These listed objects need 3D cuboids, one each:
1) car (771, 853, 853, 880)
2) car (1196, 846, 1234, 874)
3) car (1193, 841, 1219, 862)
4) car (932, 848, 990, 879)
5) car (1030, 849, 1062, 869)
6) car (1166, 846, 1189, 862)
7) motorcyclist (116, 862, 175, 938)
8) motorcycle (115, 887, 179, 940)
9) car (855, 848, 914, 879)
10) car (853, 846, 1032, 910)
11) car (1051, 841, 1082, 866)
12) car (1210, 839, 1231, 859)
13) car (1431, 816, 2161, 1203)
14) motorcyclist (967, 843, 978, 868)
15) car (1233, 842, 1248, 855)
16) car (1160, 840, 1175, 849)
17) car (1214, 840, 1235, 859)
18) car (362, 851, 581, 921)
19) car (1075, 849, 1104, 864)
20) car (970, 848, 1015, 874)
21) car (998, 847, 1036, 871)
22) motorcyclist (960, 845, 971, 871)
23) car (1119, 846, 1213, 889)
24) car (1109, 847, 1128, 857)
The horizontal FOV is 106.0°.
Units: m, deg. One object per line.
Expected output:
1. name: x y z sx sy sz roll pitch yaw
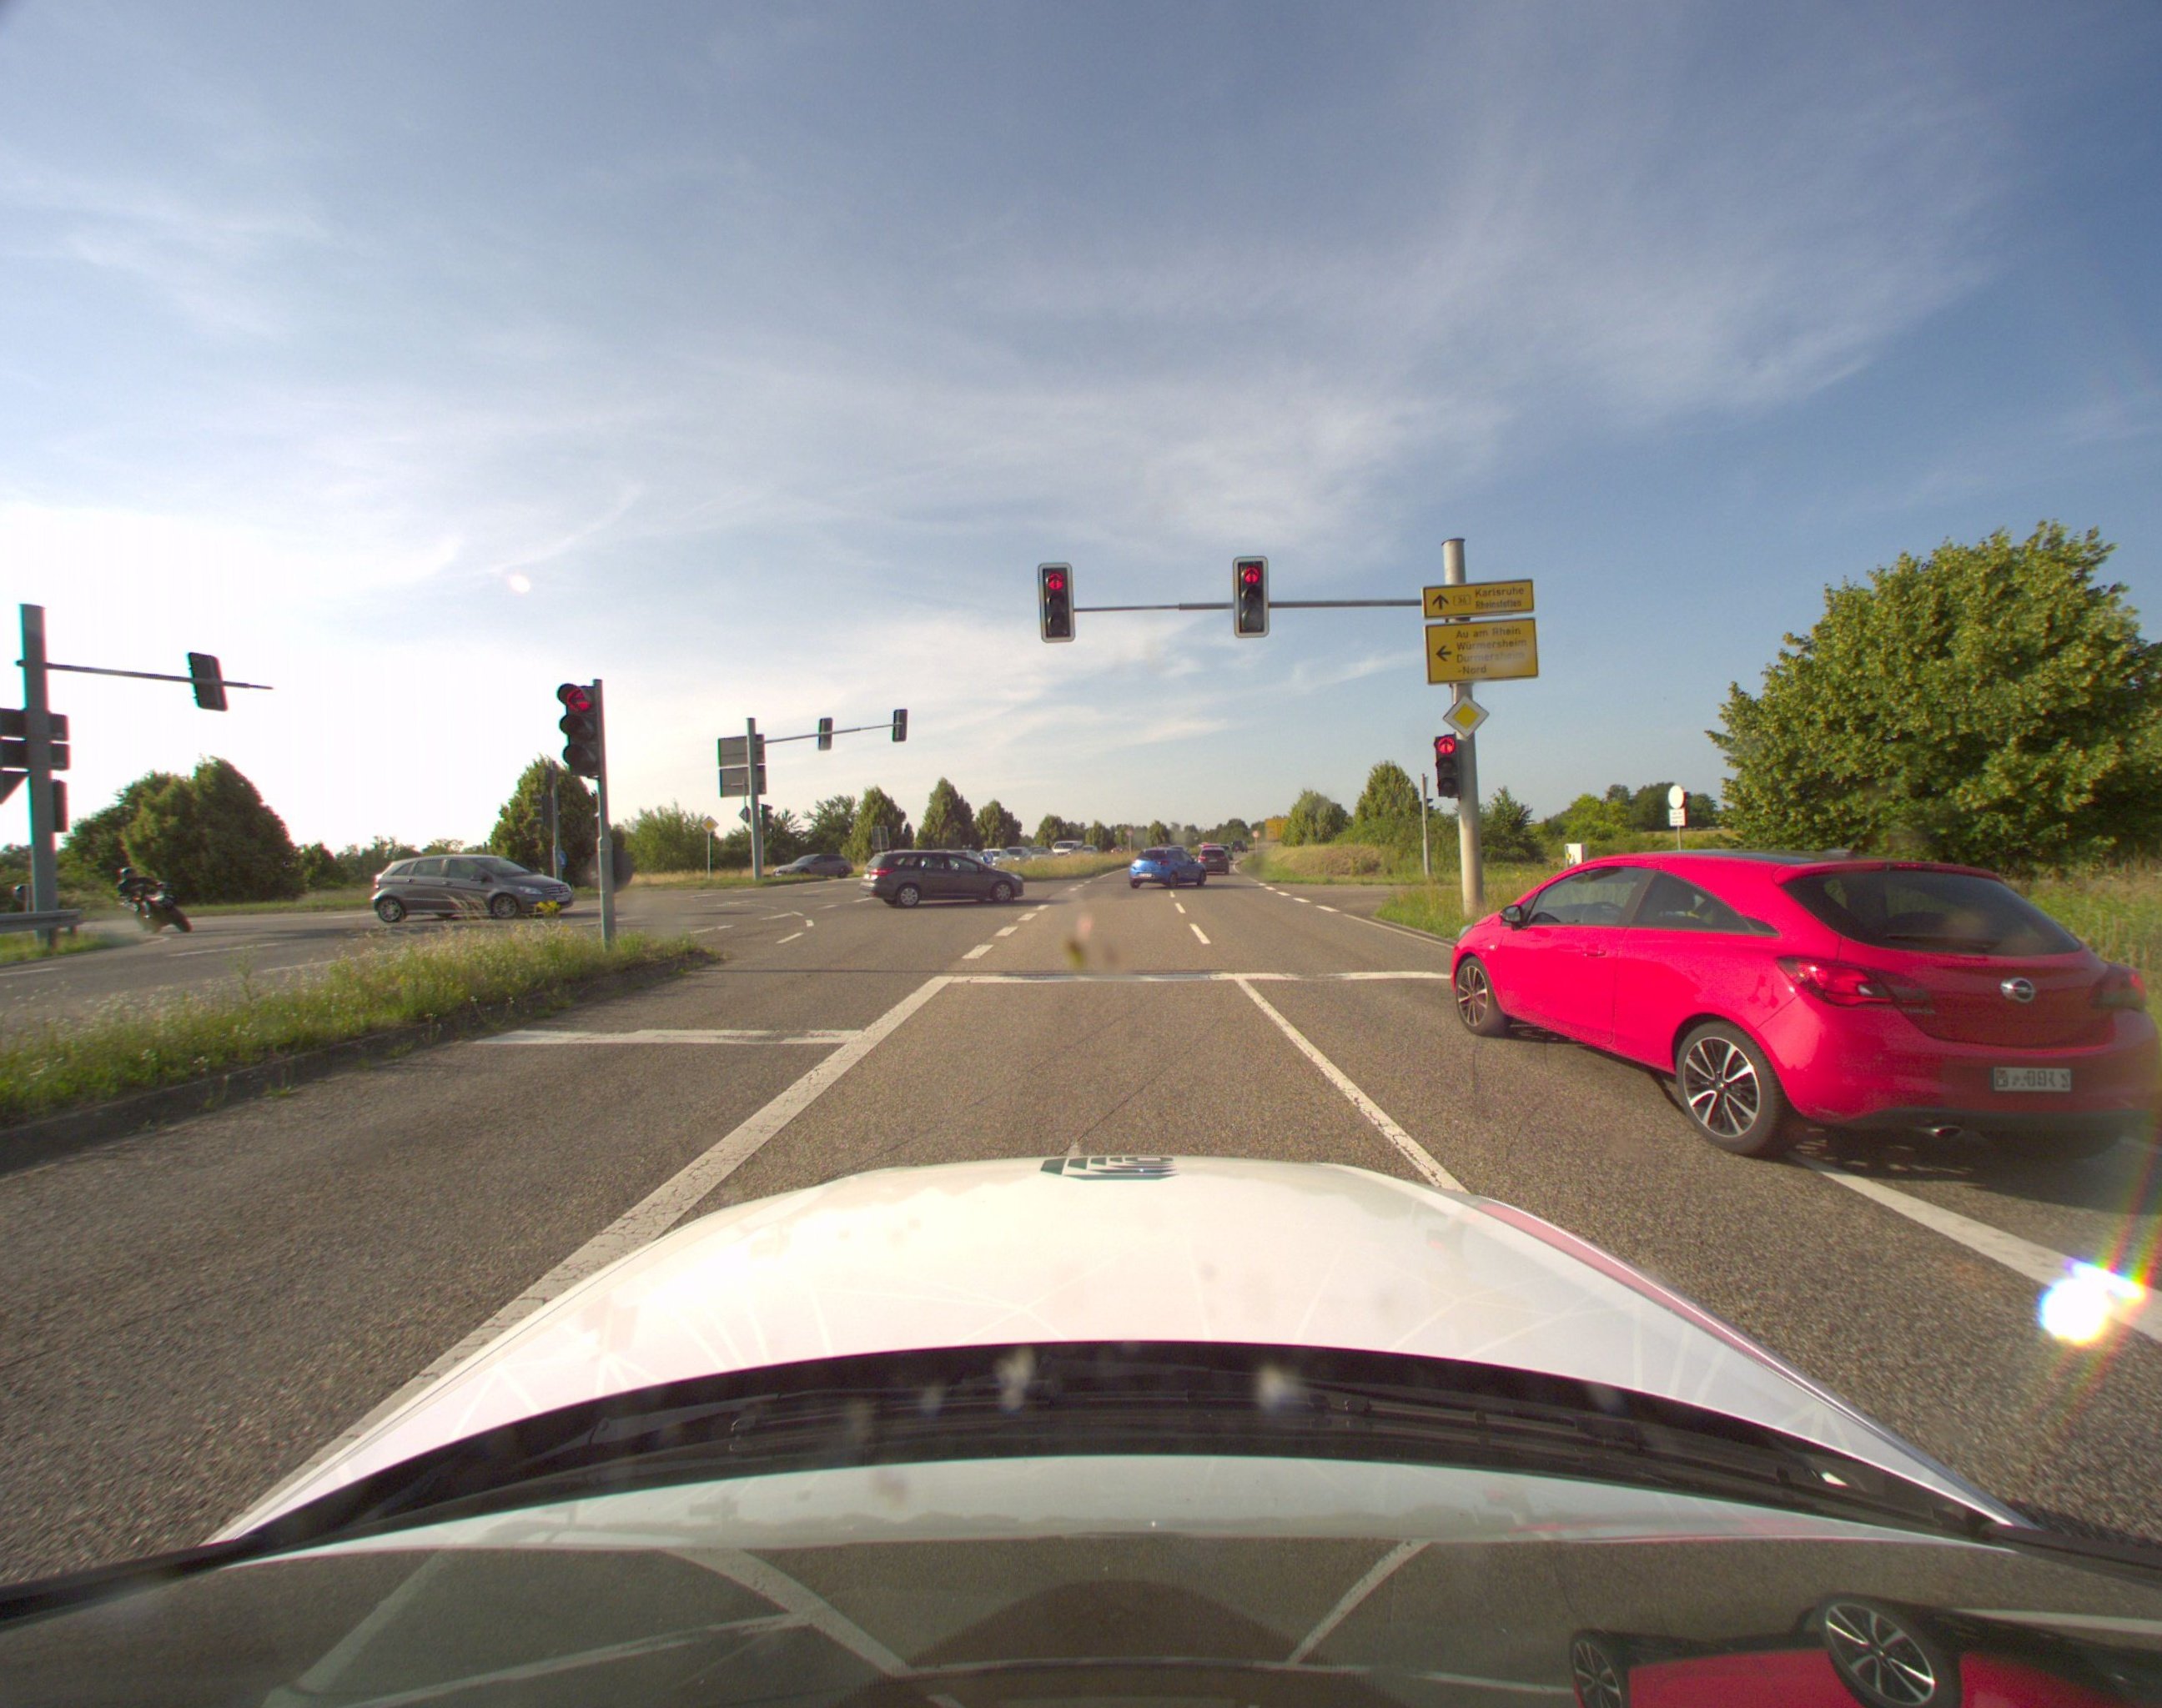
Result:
1. car: -15.013 0.677 45.728 1.423 1.292 4.701 -2 0 27
2. car: 7.104 0.321 43.490 1.904 1.416 3.803 -1 -1 7
3. car: 9.944 -0.177 64.778 1.883 1.565 4.290 -1 -1 11
4. car: -6.266 0.471 43.100 1.776 1.488 4.660 -2 0 7
5. car: -2.651 0.353 62.449 1.776 1.385 4.059 -2 0 7
6. car: 8.838 0.008 74.122 1.825 1.377 4.290 -1 -1 10
7. motorcyclist: -22.636 1.087 19.705 0.821 1.758 0.912 -1 0 40
8. motorcycle: -22.453 1.405 19.563 2.143 1.124 0.946 0 0 40
9. car: -10.395 0.475 43.365 1.711 1.488 3.813 -2 0 8
10. car: -3.805 0.595 22.525 4.542 1.565 1.799 -1 0 -28
11. car: -1.238 -0.083 71.759 1.913 2.078 4.256 -2 0 10
12. car: 13.303 -0.435 77.436 1.897 1.800 4.290 -1 -1 11
13. car: 3.940 0.627 5.244 1.692 1.549 3.749 -2 0 -1
14. motorcyclist: -7.907 0.090 59.142 0.660 1.817 0.605 -2 0 0
15. car: 23.003 -0.835 117.575 1.898 1.734 4.288 -1 -1 8
16. car: 14.412 -1.530 135.186 1.772 1.385 4.069 -2 0 16
17. car: 15.929 -0.478 90.619 1.900 1.916 4.283 -1 -1 5
18. car: -14.966 0.774 20.135 4.162 1.605 1.792 -1 -1 4
19. car: 0.824 0.196 80.298 1.772 1.385 4.069 -2 0 16
20. car: -5.383 0.406 50.269 1.776 1.433 4.318 -2 0 7
21. car: -4.356 0.315 56.276 1.776 1.568 4.059 -2 0 7
22. motorcyclist: -7.975 0.265 56.264 0.660 1.747 0.605 -2 0 0
23. car: 3.267 0.471 30.588 1.755 1.492 4.011 -1 0 35
24. car: 5.427 -0.279 117.702 1.772 1.385 4.069 -2 0 16
